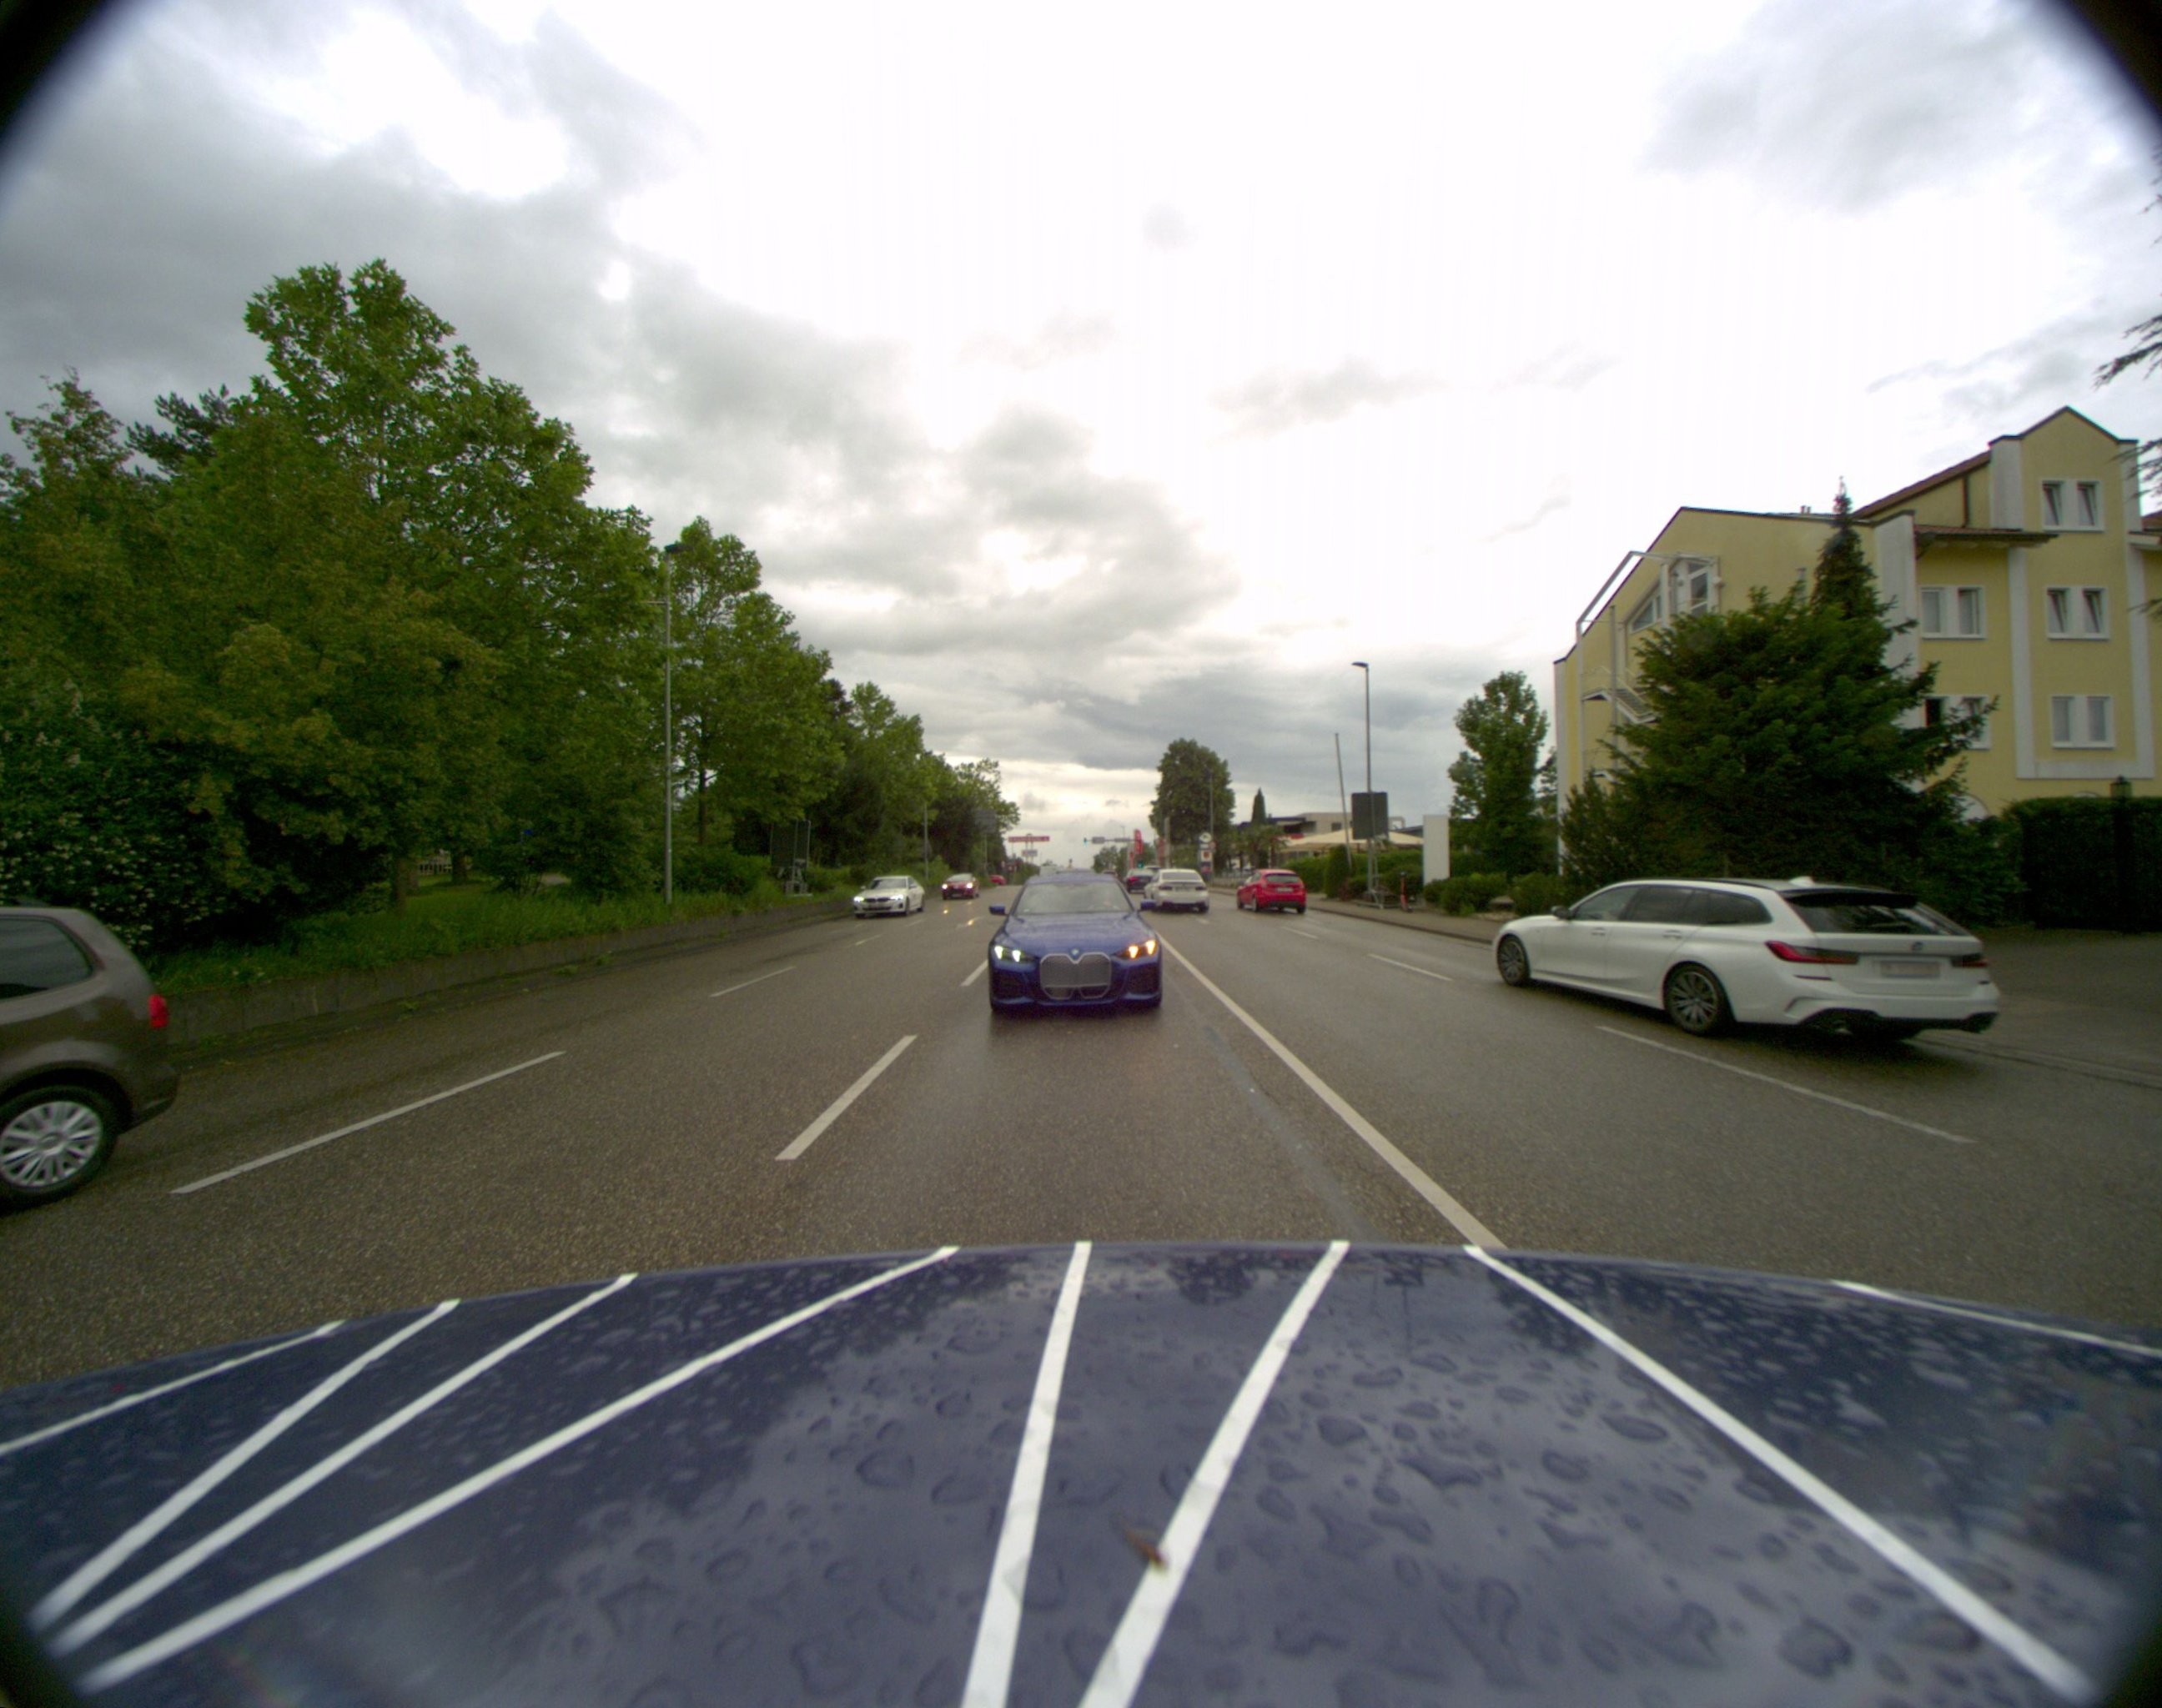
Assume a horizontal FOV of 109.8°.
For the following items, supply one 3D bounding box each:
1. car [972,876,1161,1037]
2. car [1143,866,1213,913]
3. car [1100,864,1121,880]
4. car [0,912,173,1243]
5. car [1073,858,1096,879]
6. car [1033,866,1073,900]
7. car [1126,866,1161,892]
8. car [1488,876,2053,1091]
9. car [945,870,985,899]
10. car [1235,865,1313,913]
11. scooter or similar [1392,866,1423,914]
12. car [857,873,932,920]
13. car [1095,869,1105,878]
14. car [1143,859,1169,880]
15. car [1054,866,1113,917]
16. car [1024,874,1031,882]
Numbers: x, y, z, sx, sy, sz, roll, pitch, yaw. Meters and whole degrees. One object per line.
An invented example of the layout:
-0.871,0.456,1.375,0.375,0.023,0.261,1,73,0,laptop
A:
-0.132,1.055,9.459,1.803,1.399,4.272,-1,0,0,car
3.224,1.153,25.946,1.820,1.373,4.272,-1,0,0,car
2.813,1.691,72.542,1.764,1.418,3.780,-1,0,-1,car
-6.154,1.154,2.372,1.740,1.566,4.068,-2,0,-2,car
0.281,1.166,62.403,1.807,1.543,4.000,-1,0,1,car
-1.376,1.415,38.577,1.807,1.543,4.000,-1,0,1,car
3.554,1.423,43.923,1.699,1.345,3.780,1,0,0,car
6.333,1.031,7.881,1.790,1.451,4.431,1,0,0,car
-6.406,1.641,42.214,1.629,1.395,3.689,-2,0,-1,car
6.553,1.148,26.199,1.699,1.467,3.780,1,0,0,car
10.094,1.085,23.549,0.505,1.397,1.882,0,0,11,scooter or similar
-6.832,1.518,28.267,1.669,1.418,4.304,-2,0,0,car
3.653,3.838,148.158,1.903,1.641,3.999,-1,0,-1,car
6.357,1.306,64.643,1.764,1.664,3.780,-1,0,-1,car
0.094,1.174,25.344,1.807,1.543,4.223,-1,-1,1,car
-14.040,6.332,200.160,1.812,1.718,3.998,-3,1,-3,car
